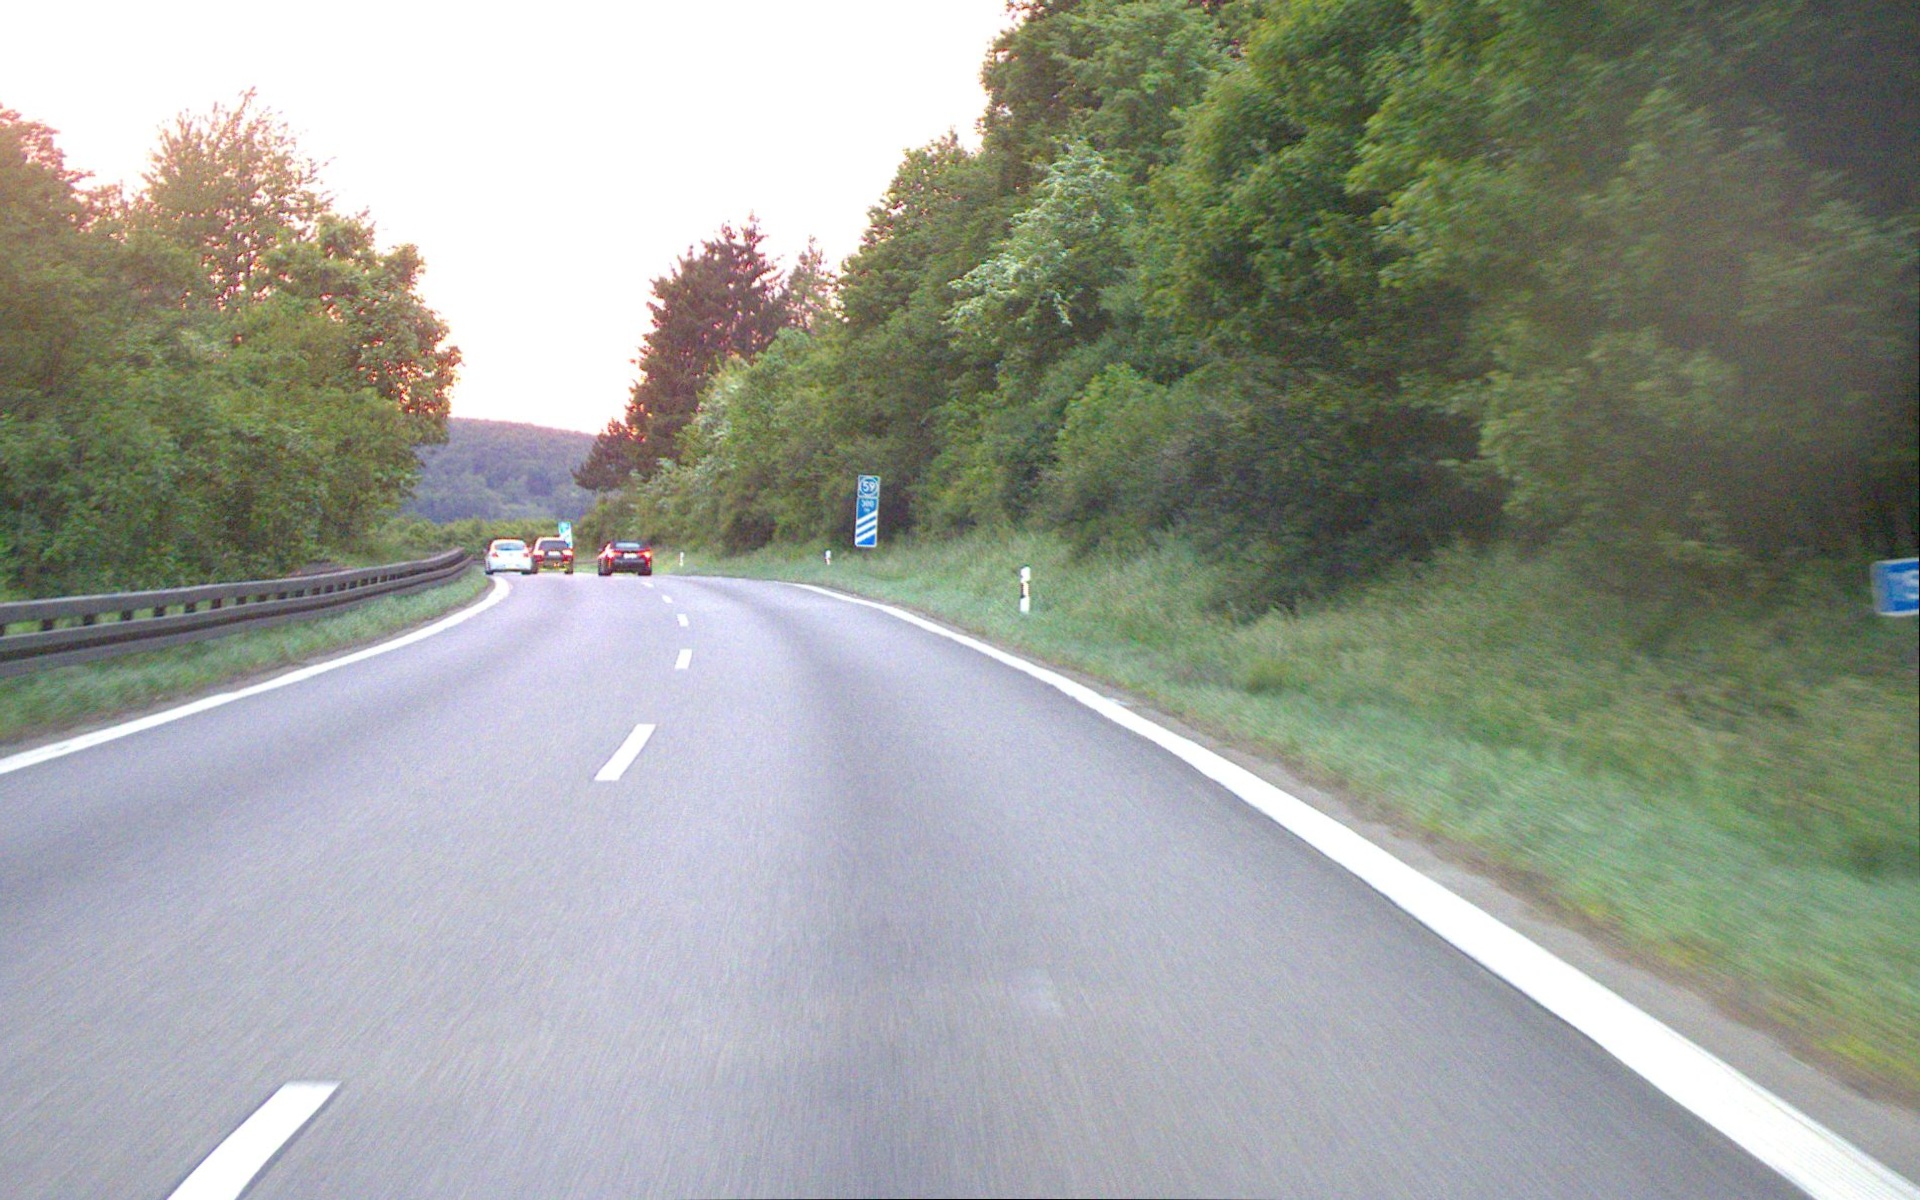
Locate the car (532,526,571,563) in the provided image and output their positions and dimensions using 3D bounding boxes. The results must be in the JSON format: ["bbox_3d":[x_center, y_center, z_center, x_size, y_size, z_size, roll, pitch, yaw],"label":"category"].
[{"bbox_3d":[-18.459,-2.484,155.345,1.718,1.629,4.001,0,0,-7],"label":"car"}]

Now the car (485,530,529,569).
[{"bbox_3d":[-19.134,-2.121,145.227,1.718,1.496,4.001,2,-1,-6],"label":"car"}]

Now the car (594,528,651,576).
[{"bbox_3d":[-13.513,-1.912,137.394,1.993,1.640,4.000,3,-2,-8],"label":"car"}]
